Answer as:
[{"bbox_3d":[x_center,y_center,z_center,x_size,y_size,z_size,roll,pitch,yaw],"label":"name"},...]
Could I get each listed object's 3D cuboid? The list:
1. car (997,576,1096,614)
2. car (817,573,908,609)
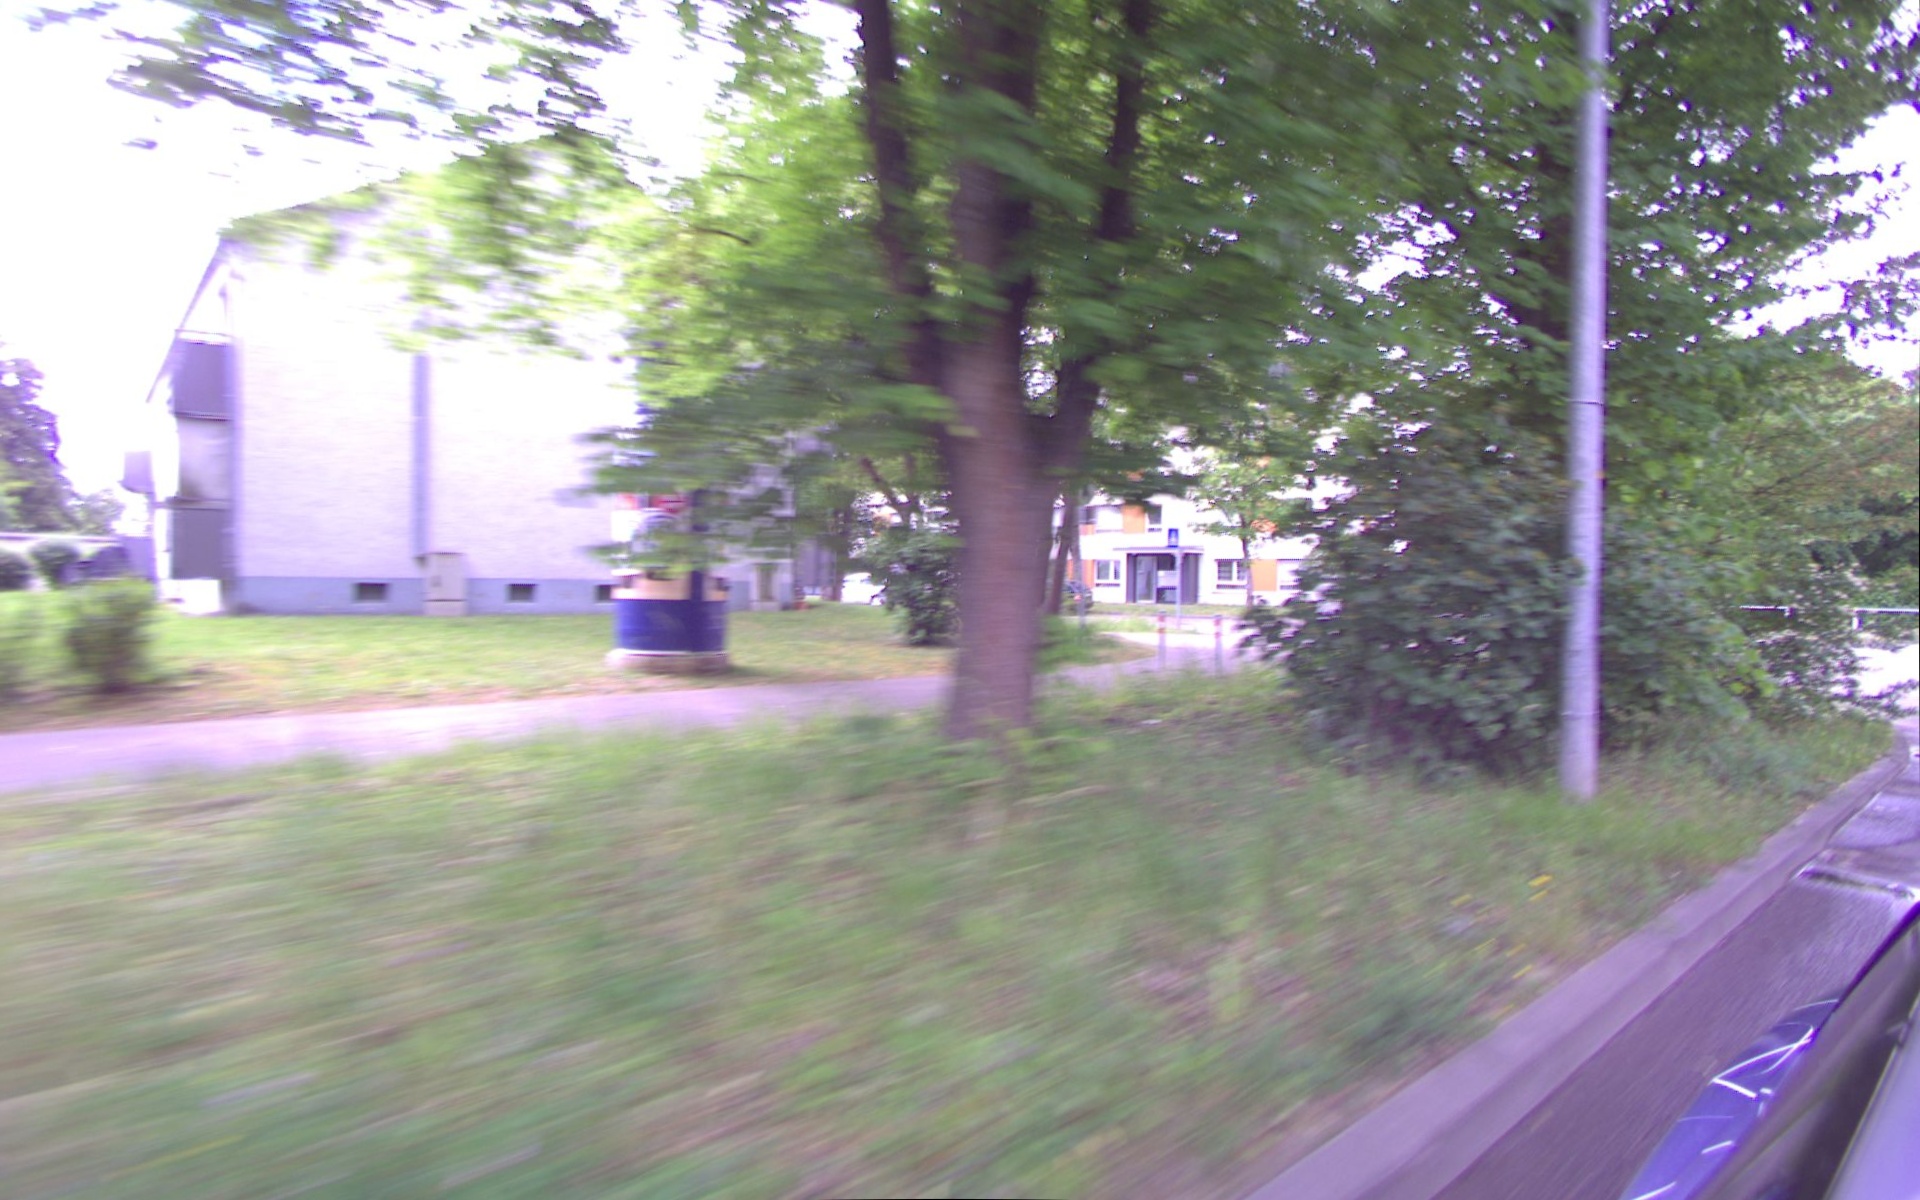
[{"bbox_3d":[3.526,-0.225,41.302,3.744,1.482,1.620,1,2,32],"label":"car"},{"bbox_3d":[-4.529,-0.453,46.888,3.969,1.593,1.772,1,2,32],"label":"car"}]
